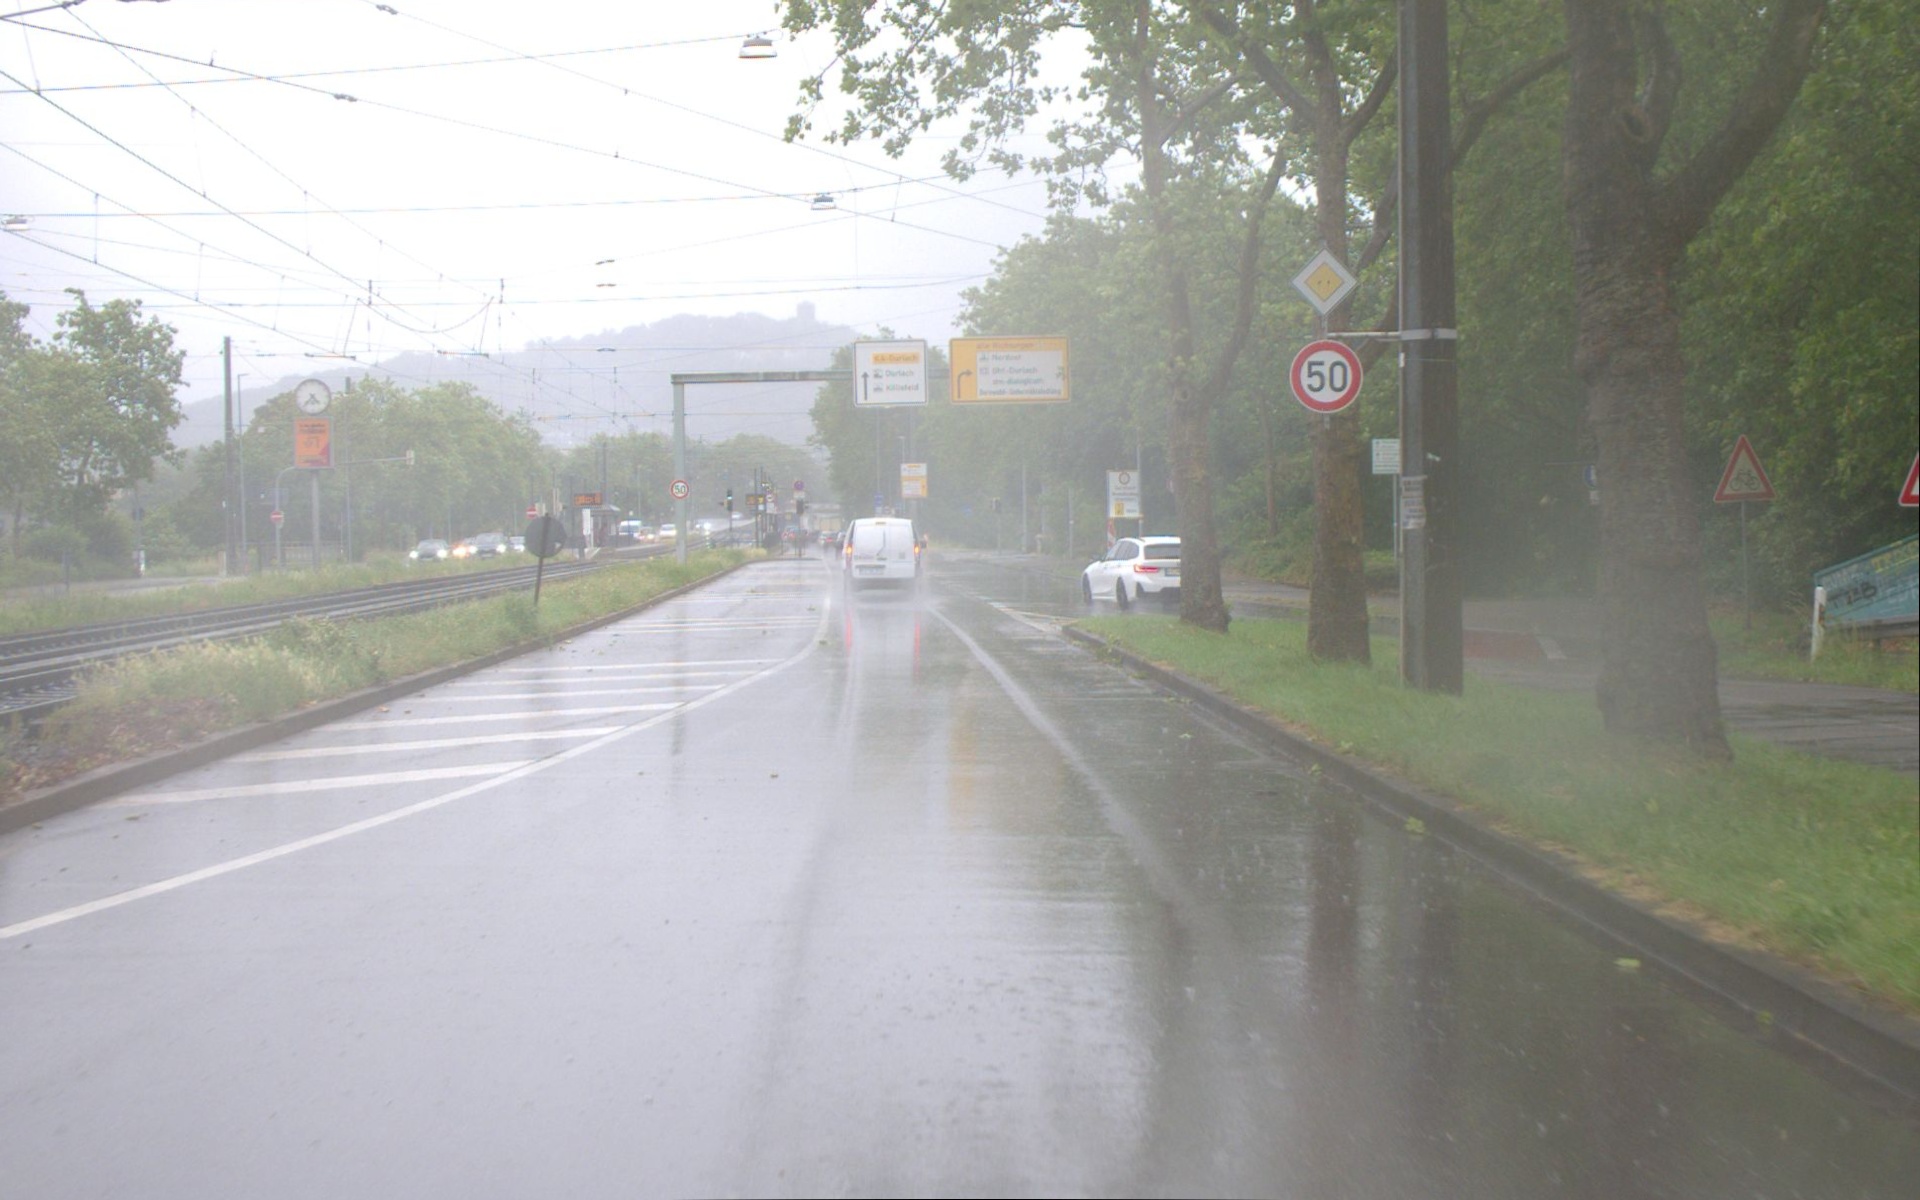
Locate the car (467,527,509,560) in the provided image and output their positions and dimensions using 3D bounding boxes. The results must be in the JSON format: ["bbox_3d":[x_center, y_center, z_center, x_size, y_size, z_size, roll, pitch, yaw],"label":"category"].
[{"bbox_3d":[-24.227,-2.909,176.478,1.943,1.610,4.990,-1,1,-6],"label":"car"}]

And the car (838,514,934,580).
[{"bbox_3d":[-1.703,-1.208,77.932,2.077,1.415,4.001,-2,1,-2],"label":"car"}]

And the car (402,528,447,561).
[{"bbox_3d":[-27.541,-2.870,176.996,1.943,1.680,4.781,-1,1,-5],"label":"car"}]

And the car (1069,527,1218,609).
[{"bbox_3d":[3.532,-0.653,66.961,1.948,1.531,4.468,-1,1,-9],"label":"car"}]
